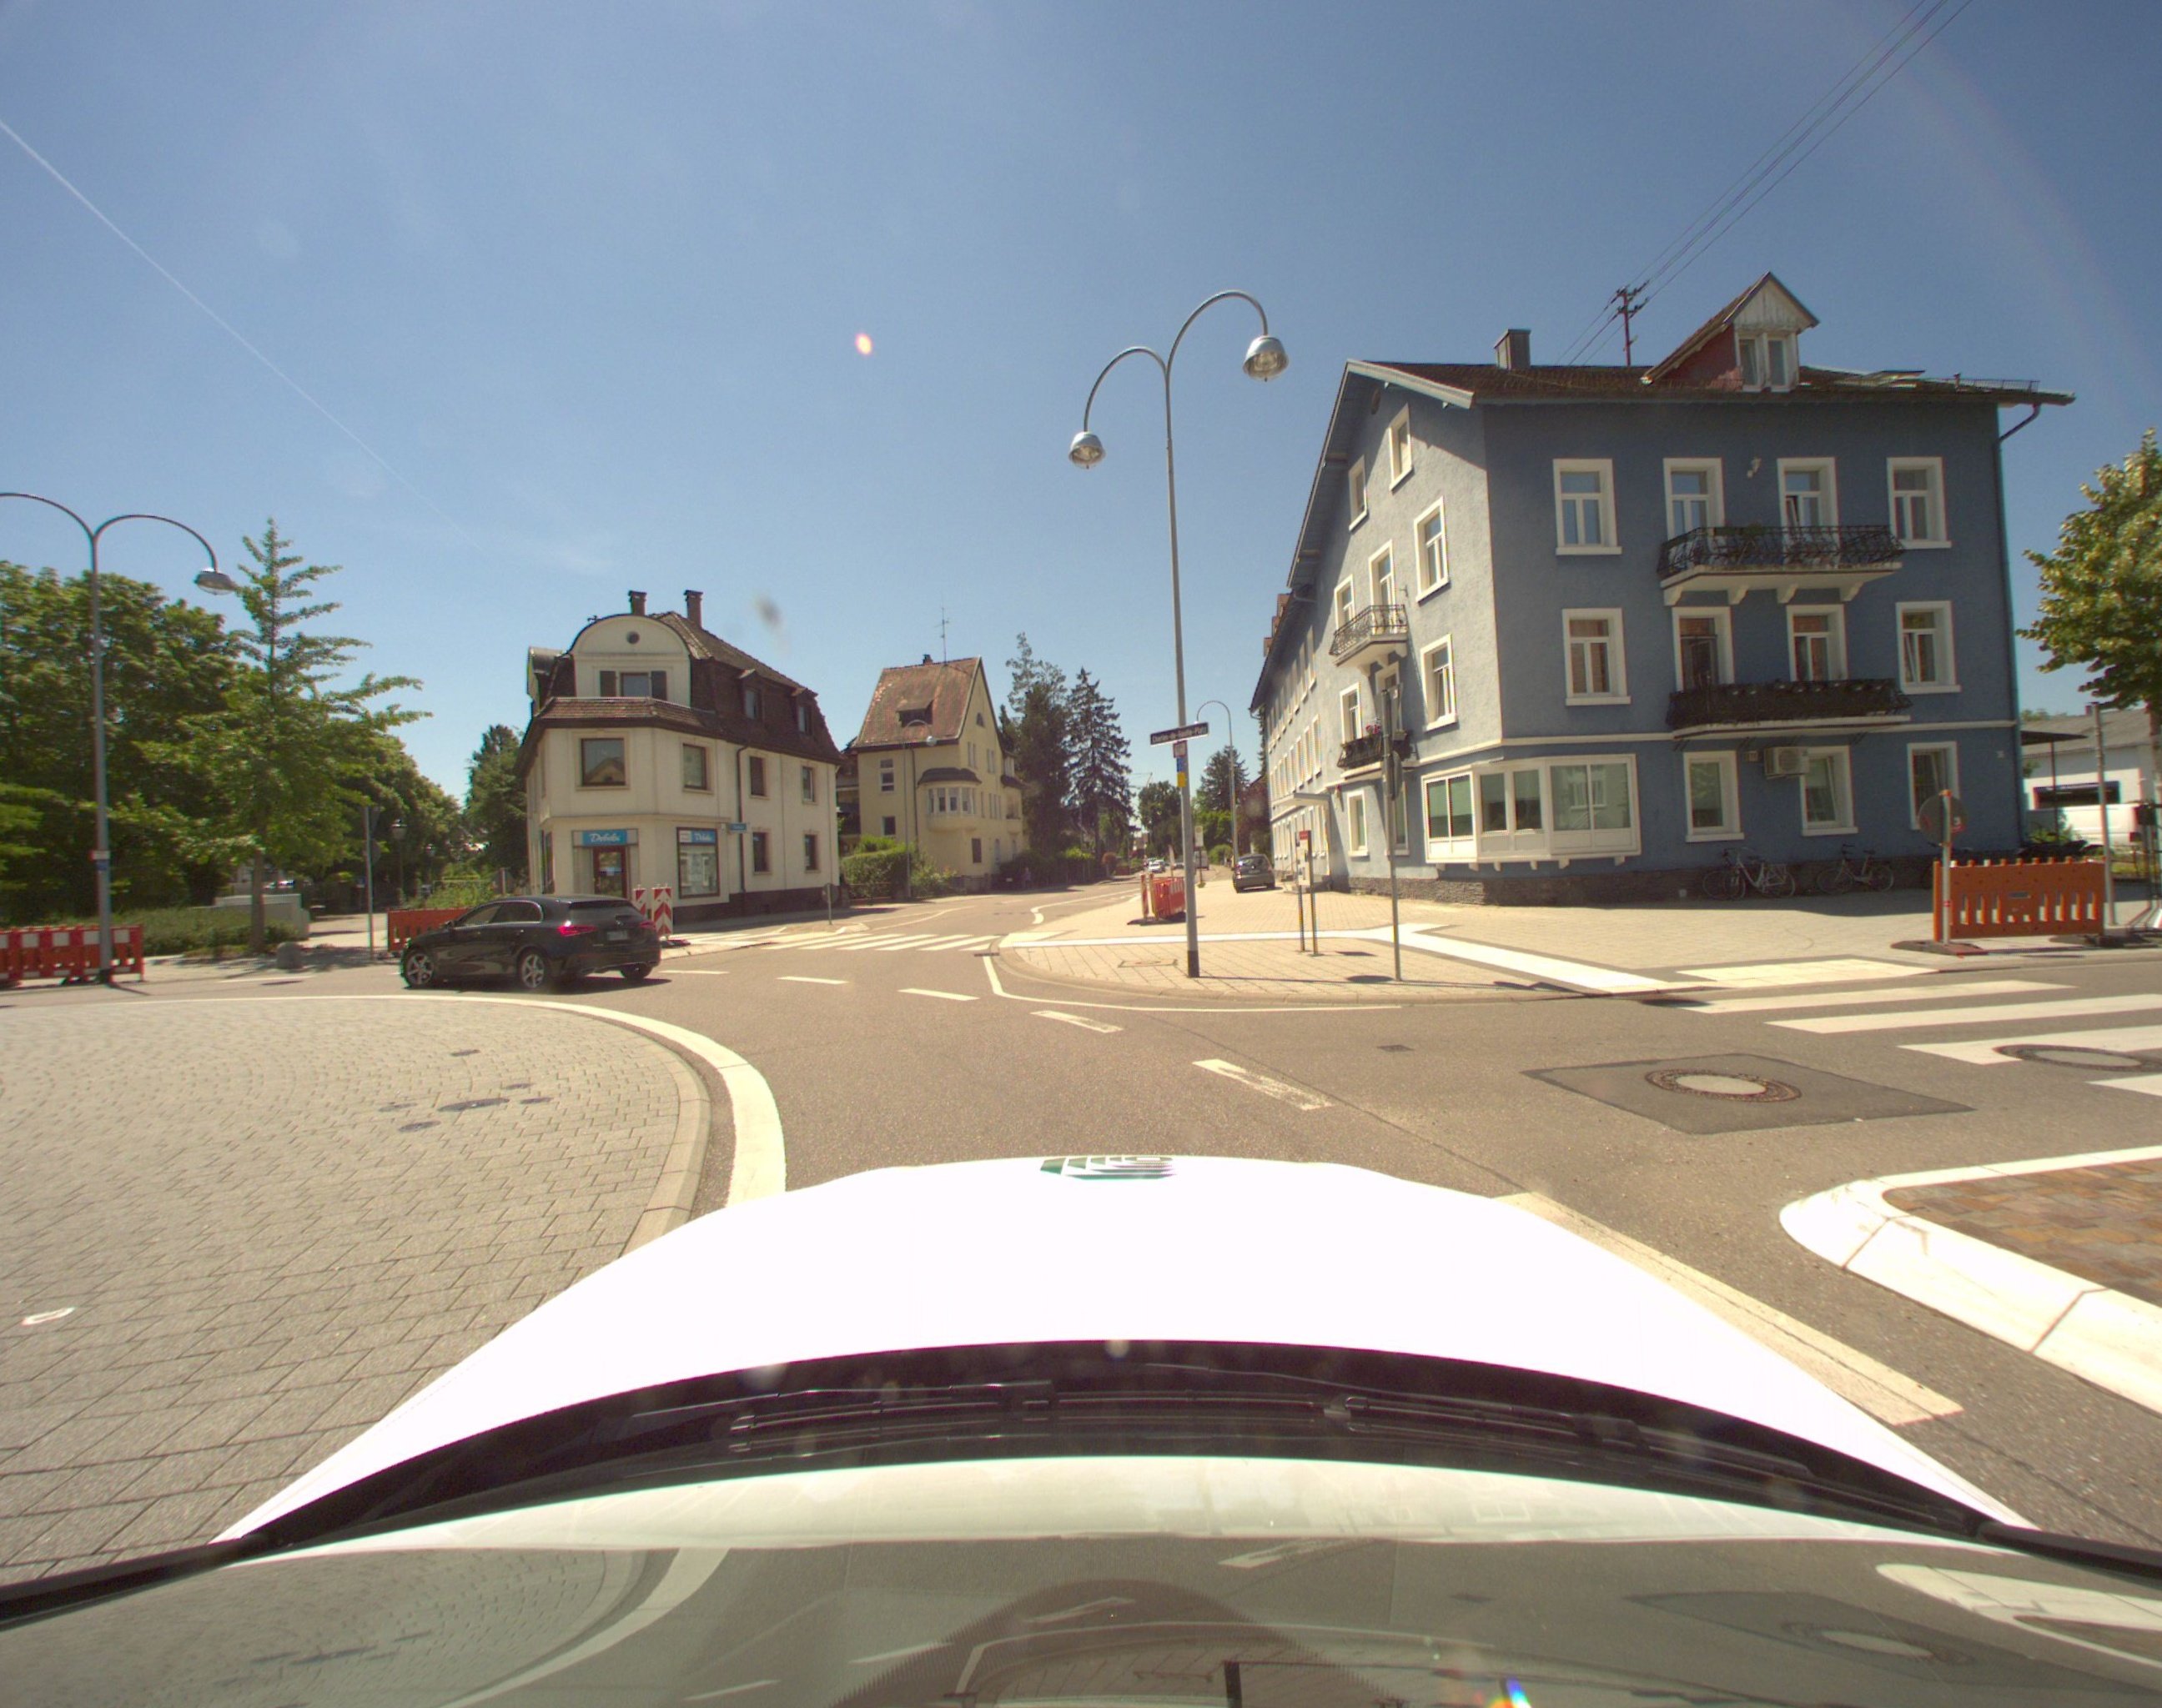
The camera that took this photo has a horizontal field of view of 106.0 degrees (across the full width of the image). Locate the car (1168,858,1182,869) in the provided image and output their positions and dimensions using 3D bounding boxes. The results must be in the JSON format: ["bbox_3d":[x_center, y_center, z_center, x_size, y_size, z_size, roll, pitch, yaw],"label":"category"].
[{"bbox_3d":[14.645,1.499,126.855,1.982,1.717,4.010,-2,-1,9],"label":"car"}]

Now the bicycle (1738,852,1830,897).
[{"bbox_3d":[15.415,0.440,17.865,1.704,0.907,0.439,-2,1,-4],"label":"bicycle"}]

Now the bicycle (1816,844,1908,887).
[{"bbox_3d":[17.700,0.253,18.468,1.704,0.907,0.480,-2,1,-4],"label":"bicycle"}]

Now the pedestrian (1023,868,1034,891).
[{"bbox_3d":[-3.600,1.758,55.993,0.519,1.509,0.475,-3,-1,15],"label":"pedestrian"}]

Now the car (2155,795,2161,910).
[{"bbox_3d":[18.536,-0.095,11.608,4.228,1.743,1.903,-2,0,-4],"label":"car"}]

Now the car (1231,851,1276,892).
[{"bbox_3d":[7.326,0.701,34.900,1.630,1.507,3.573,-6,-1,10],"label":"car"}]

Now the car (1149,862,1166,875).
[{"bbox_3d":[10.270,1.945,109.211,1.982,1.651,4.009,-2,-1,8],"label":"car"}]

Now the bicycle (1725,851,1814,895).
[{"bbox_3d":[15.496,0.420,18.332,1.704,0.907,0.439,-2,1,-4],"label":"bicycle"}]

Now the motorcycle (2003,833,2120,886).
[{"bbox_3d":[21.315,0.112,17.724,1.894,1.051,0.587,-2,1,-2],"label":"motorcycle"}]

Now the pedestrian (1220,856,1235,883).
[{"bbox_3d":[8.928,0.936,49.575,0.661,1.594,0.590,-6,-1,17],"label":"pedestrian"}]

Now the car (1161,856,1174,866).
[{"bbox_3d":[18.302,1.561,172.313,1.990,2.013,3.993,-3,0,-5],"label":"car"}]

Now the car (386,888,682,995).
[{"bbox_3d":[-8.638,1.327,12.907,3.952,1.427,1.970,-3,-2,21],"label":"car"}]

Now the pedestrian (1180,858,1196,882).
[{"bbox_3d":[6.032,0.909,45.854,0.661,1.286,0.590,-6,-1,17],"label":"pedestrian"}]

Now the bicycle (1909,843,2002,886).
[{"bbox_3d":[20.053,0.243,18.681,1.704,0.907,0.480,-2,1,-4],"label":"bicycle"}]

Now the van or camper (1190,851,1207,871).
[{"bbox_3d":[15.847,0.969,109.975,2.193,2.611,4.009,-2,-1,8],"label":"van or camper"}]
